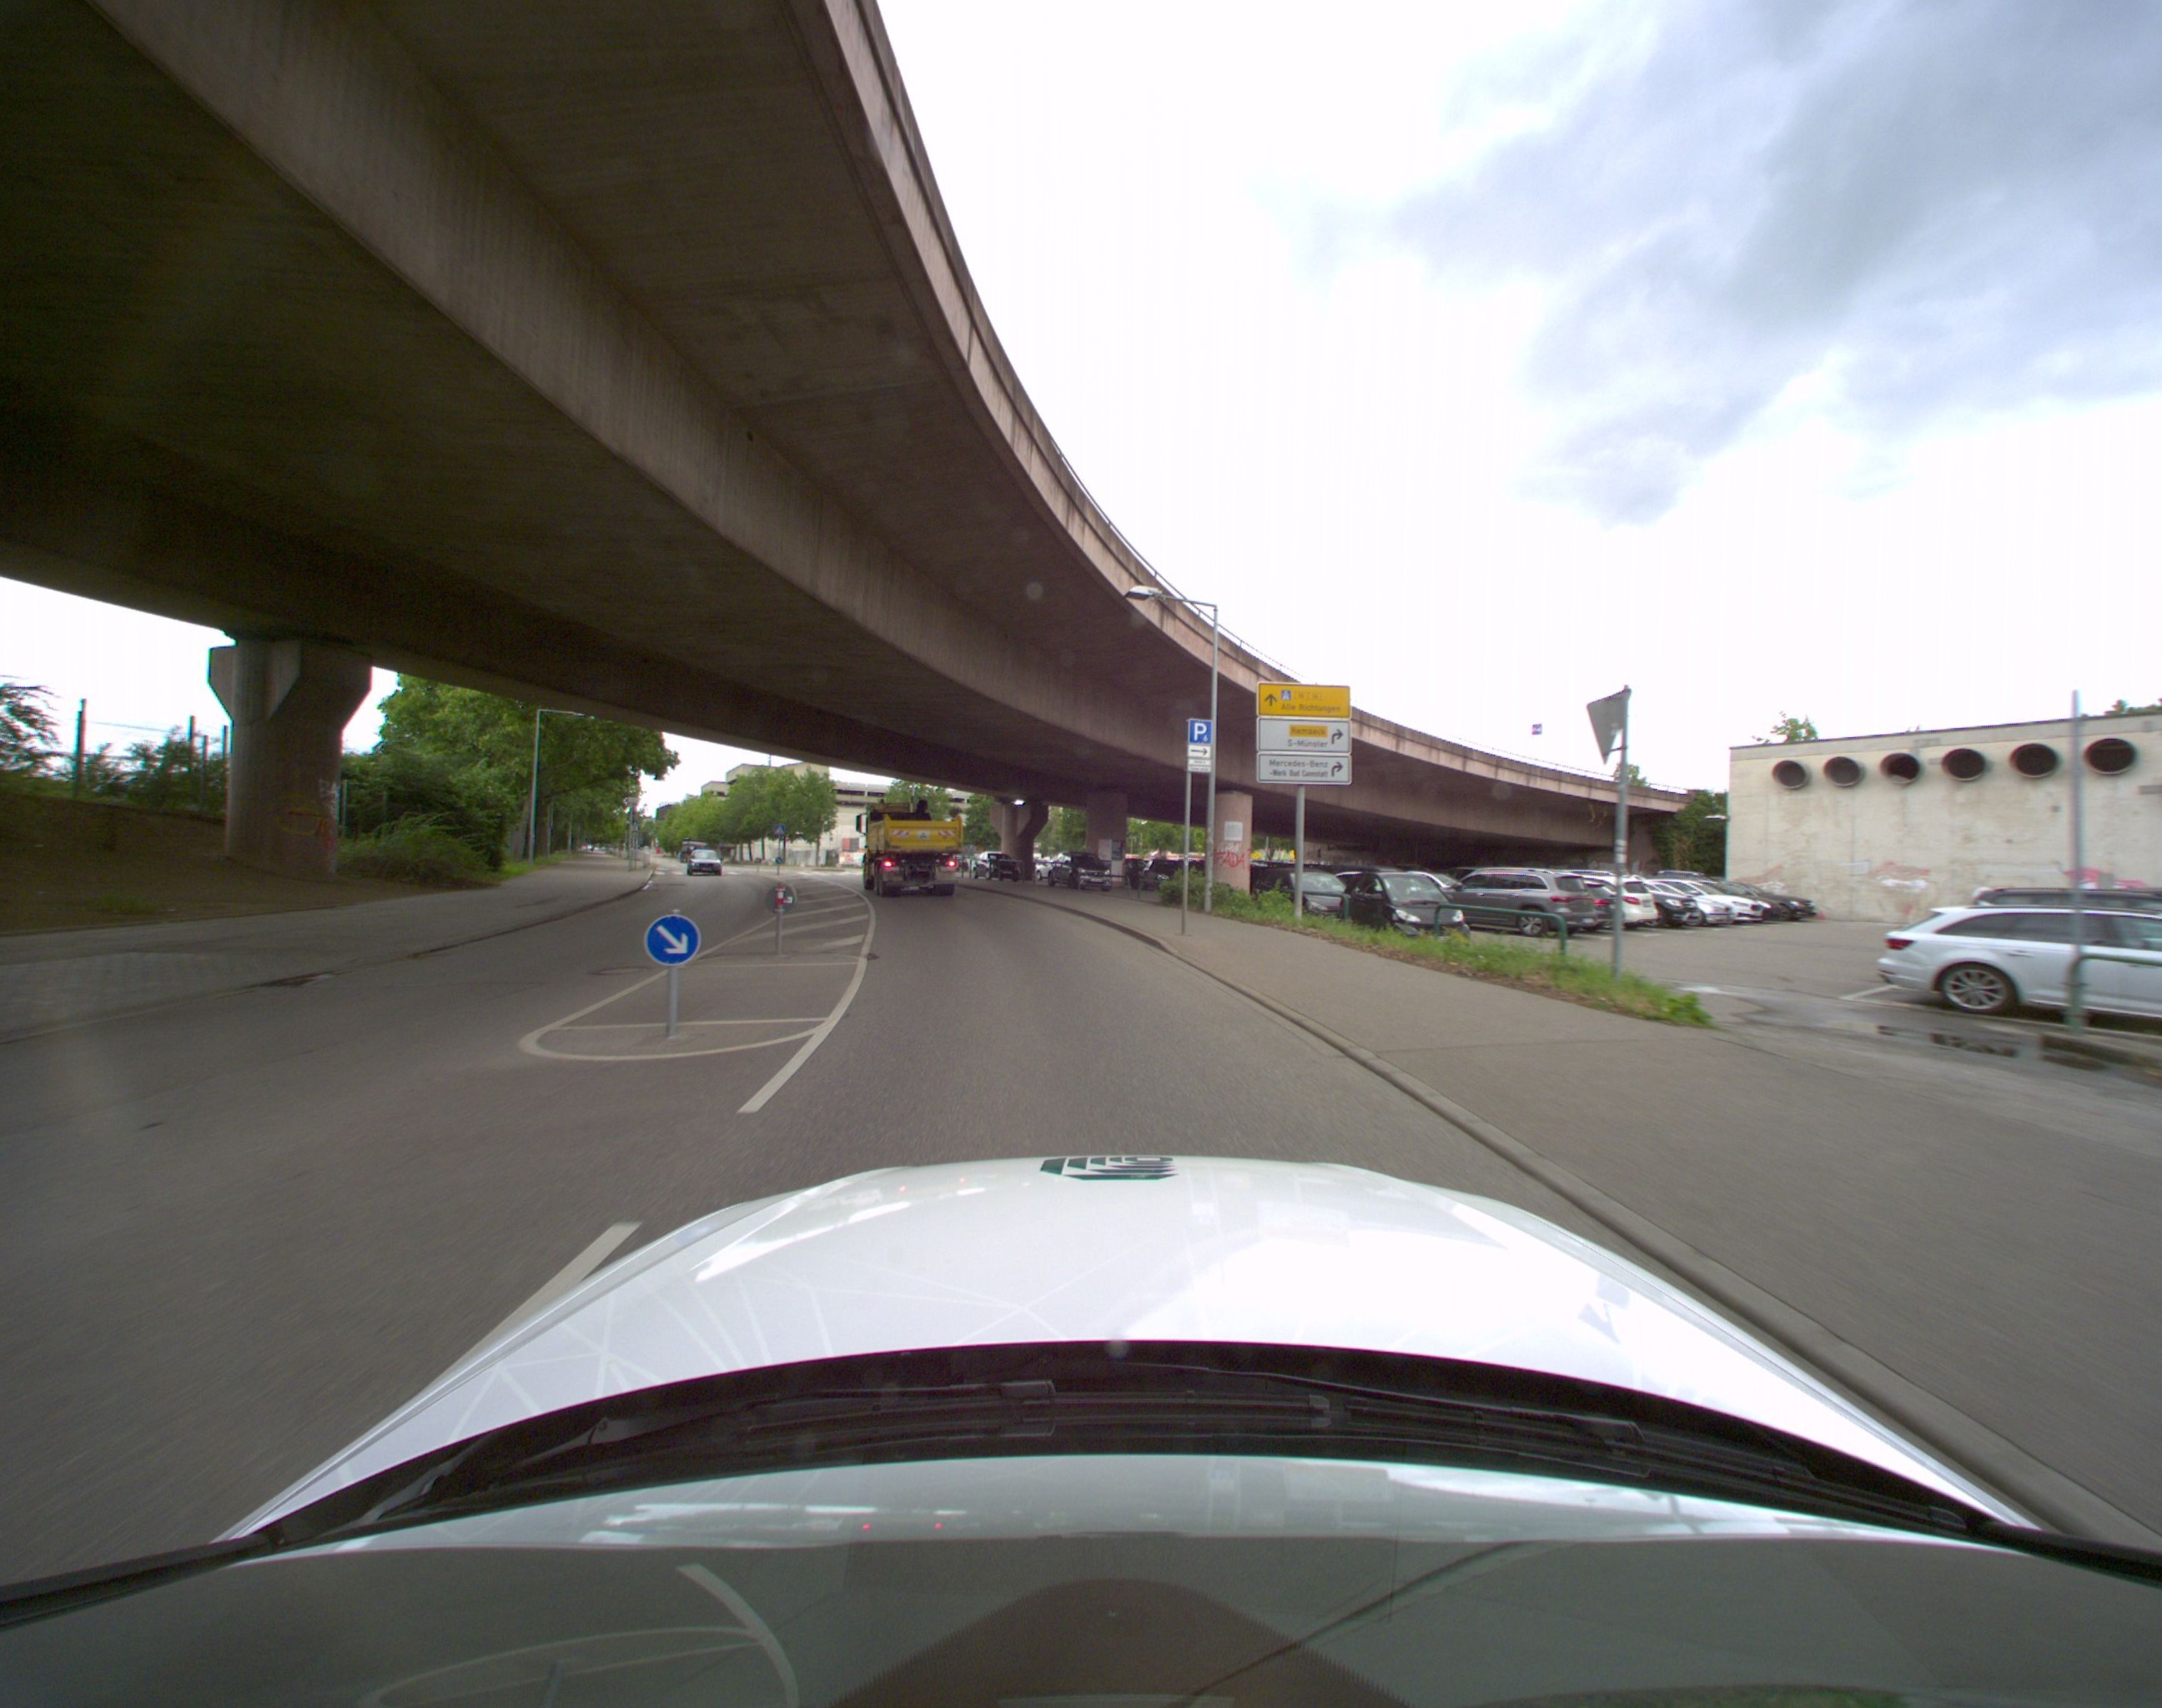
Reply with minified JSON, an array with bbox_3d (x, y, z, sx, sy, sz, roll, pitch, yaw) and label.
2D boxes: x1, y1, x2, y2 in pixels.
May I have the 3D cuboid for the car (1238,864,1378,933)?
[{"bbox_3d":[5.469,1.017,20.241,1.729,1.479,4.236,1,0,-9],"label":"car"}]

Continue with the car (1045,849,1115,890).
[{"bbox_3d":[-0.089,0.599,33.436,1.613,1.533,3.384,3,-1,-23],"label":"car"}]

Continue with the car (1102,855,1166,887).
[{"bbox_3d":[2.689,0.864,41.868,1.536,1.500,3.340,4,-2,-33],"label":"car"}]

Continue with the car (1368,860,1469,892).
[{"bbox_3d":[19.322,1.234,46.879,2.099,1.677,5.053,2,0,-33],"label":"car"}]

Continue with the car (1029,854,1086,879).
[{"bbox_3d":[-1.539,0.779,51.842,1.646,1.552,3.967,2,-1,-37],"label":"car"}]

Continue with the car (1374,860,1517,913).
[{"bbox_3d":[12.482,1.064,28.117,1.845,1.592,4.148,2,0,-33],"label":"car"}]

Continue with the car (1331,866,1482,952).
[{"bbox_3d":[6.229,1.000,15.864,1.539,1.479,2.752,1,-1,-9],"label":"car"}]

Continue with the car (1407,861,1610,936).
[{"bbox_3d":[11.069,1.079,21.422,1.752,1.675,4.424,2,0,-33],"label":"car"}]

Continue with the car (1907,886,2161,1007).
[{"bbox_3d":[14.929,1.284,11.270,1.865,1.475,4.639,2,0,-33],"label":"car"}]

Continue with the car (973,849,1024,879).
[{"bbox_3d":[-4.346,0.488,42.430,1.613,1.397,3.552,3,-1,-23],"label":"car"}]

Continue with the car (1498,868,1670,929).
[{"bbox_3d":[15.066,1.274,24.589,1.763,1.557,4.045,2,0,-33],"label":"car"}]

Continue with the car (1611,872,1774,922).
[{"bbox_3d":[21.095,1.433,28.268,1.715,1.509,4.217,2,0,-33],"label":"car"}]

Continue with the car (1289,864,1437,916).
[{"bbox_3d":[8.765,1.074,25.629,1.845,1.421,4.148,2,0,-33],"label":"car"}]

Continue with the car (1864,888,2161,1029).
[{"bbox_3d":[12.858,1.252,9.788,1.864,1.475,4.641,2,0,-30],"label":"car"}]

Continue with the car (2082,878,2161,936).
[{"bbox_3d":[30.934,1.517,22.203,1.775,1.533,4.443,2,0,-33],"label":"car"}]

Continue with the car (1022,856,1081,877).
[{"bbox_3d":[-2.154,0.961,60.629,4.266,1.420,1.494,1,1,-36],"label":"car"}]

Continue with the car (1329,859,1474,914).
[{"bbox_3d":[10.469,1.016,26.911,1.845,1.592,4.148,2,0,-33],"label":"car"}]

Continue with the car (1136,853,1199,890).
[{"bbox_3d":[3.877,0.813,37.107,1.785,1.507,3.845,3,-2,-10],"label":"car"}]

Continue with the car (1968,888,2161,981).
[{"bbox_3d":[18.825,1.418,14.009,1.865,1.444,4.573,2,0,-33],"label":"car"}]

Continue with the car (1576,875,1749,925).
[{"bbox_3d":[19.099,1.462,26.957,1.638,1.363,4.361,2,0,-33],"label":"car"}]

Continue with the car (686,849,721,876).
[{"bbox_3d":[-21.255,0.444,45.974,1.684,1.430,3.968,2,-1,-24],"label":"car"}]

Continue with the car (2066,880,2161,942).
[{"bbox_3d":[28.605,1.517,20.975,1.775,1.533,3.935,2,0,-33],"label":"car"}]

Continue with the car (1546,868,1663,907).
[{"bbox_3d":[24.128,1.513,37.680,1.845,1.592,4.148,2,0,-33],"label":"car"}]

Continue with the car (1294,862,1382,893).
[{"bbox_3d":[13.414,1.187,42.681,1.845,1.466,4.148,2,0,-33],"label":"car"}]

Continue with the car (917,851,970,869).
[{"bbox_3d":[-12.578,0.524,74.443,4.553,1.574,1.832,1,-1,-22],"label":"car"}]

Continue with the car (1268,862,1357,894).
[{"bbox_3d":[11.623,1.195,41.102,1.845,1.466,4.148,2,0,-33],"label":"car"}]

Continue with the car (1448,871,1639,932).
[{"bbox_3d":[12.954,1.260,23.092,1.763,1.449,4.413,2,0,-33],"label":"car"}]

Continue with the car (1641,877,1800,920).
[{"bbox_3d":[23.167,1.567,29.656,1.715,1.305,4.217,2,0,-33],"label":"car"}]

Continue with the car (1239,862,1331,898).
[{"bbox_3d":[9.852,1.223,39.616,1.845,1.550,4.148,2,0,-33],"label":"car"}]

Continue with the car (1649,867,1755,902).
[{"bbox_3d":[33.109,1.574,43.542,1.845,1.688,4.148,2,0,-33],"label":"car"}]

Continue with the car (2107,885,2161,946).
[{"bbox_3d":[27.059,1.512,18.875,1.775,1.392,3.935,2,0,-33],"label":"car"}]

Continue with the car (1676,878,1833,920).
[{"bbox_3d":[25.178,1.639,30.598,1.715,1.305,4.217,2,0,-33],"label":"car"}]

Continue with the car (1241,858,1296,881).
[{"bbox_3d":[14.330,1.200,62.302,1.767,1.638,3.817,2,0,-40],"label":"car"}]

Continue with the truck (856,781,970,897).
[{"bbox_3d":[-6.420,-0.458,30.038,2.769,3.698,7.822,-1,0,-22],"label":"truck"}]

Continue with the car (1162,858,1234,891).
[{"bbox_3d":[6.363,1.087,44.557,1.845,1.698,3.822,2,0,-33],"label":"car"}]

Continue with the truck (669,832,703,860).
[{"bbox_3d":[-52.287,-1.021,107.566,2.694,3.558,7.836,-1,-1,-36],"label":"truck"}]

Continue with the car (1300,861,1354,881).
[{"bbox_3d":[20.003,1.373,66.326,1.767,1.478,3.817,2,0,-40],"label":"car"}]

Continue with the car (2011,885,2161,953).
[{"bbox_3d":[24.347,1.494,18.255,1.791,1.392,4.391,2,0,-33],"label":"car"}]

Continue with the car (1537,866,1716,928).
[{"bbox_3d":[17.158,1.299,25.821,1.763,1.691,4.386,2,0,-33],"label":"car"}]

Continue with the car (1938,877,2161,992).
[{"bbox_3d":[16.909,1.262,12.725,1.865,1.628,4.573,2,0,-33],"label":"car"}]

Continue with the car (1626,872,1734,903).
[{"bbox_3d":[31.074,1.695,42.376,1.845,1.409,4.148,2,0,-33],"label":"car"}]

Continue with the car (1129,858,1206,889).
[{"bbox_3d":[4.527,0.990,43.069,1.843,1.470,4.339,3,-1,-29],"label":"car"}]
